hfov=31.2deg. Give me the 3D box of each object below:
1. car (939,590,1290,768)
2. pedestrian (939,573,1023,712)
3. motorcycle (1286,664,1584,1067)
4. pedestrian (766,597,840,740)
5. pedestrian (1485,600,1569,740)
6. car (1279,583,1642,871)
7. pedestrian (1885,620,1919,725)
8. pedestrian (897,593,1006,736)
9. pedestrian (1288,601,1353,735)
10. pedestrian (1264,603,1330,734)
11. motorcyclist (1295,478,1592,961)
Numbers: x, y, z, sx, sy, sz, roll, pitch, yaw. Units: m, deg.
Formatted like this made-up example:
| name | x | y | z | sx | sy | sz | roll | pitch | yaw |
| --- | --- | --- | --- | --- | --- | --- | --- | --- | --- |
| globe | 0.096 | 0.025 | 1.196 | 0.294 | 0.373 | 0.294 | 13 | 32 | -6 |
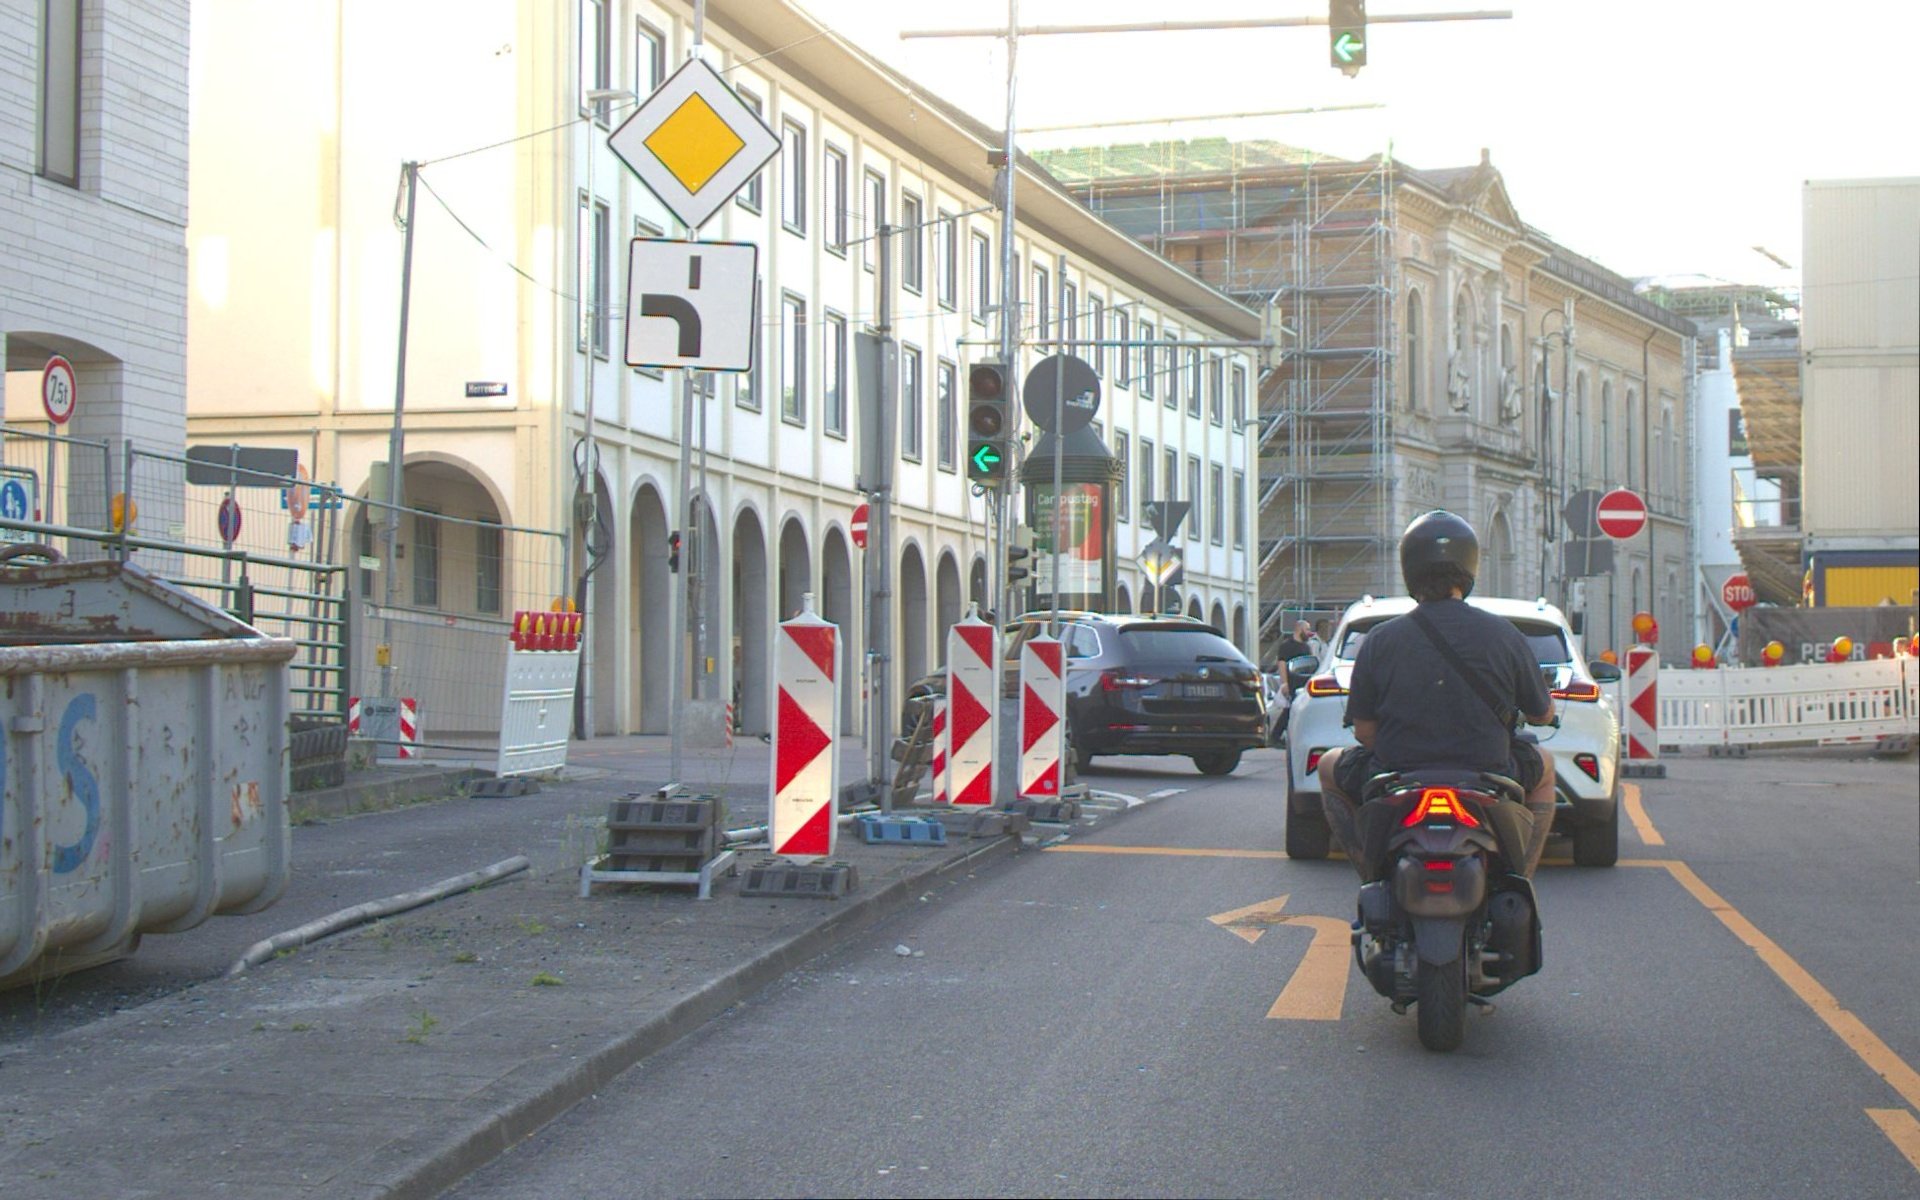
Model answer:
| name | x | y | z | sx | sy | sz | roll | pitch | yaw |
| --- | --- | --- | --- | --- | --- | --- | --- | --- | --- |
| car | 1.358 | 0.733 | 32.129 | 1.773 | 1.545 | 4.107 | 0 | -1 | -21 |
| pedestrian | 0.275 | 0.542 | 44.452 | 0.938 | 1.771 | 0.711 | -1 | 1 | 12 |
| motorcycle | 1.682 | 0.835 | 11.839 | 0.906 | 1.179 | 2.577 | 0 | 0 | 10 |
| pedestrian | -2.013 | 0.870 | 44.046 | 0.773 | 1.795 | 0.711 | -1 | 1 | 12 |
| pedestrian | 7.131 | 0.888 | 43.216 | 0.975 | 1.723 | 0.798 | -2 | -3 | 12 |
| car | 2.948 | 0.702 | 20.111 | 1.860 | 1.467 | 3.998 | 1 | -1 | 9 |
| pedestrian | 11.935 | 0.907 | 43.072 | 0.618 | 1.295 | 0.493 | 2 | -1 | 14 |
| pedestrian | -0.102 | 0.818 | 43.798 | 1.243 | 1.795 | 0.716 | -1 | 1 | 12 |
| pedestrian | 4.848 | 0.918 | 46.229 | 0.737 | 1.765 | 0.621 | -2 | -2 | 15 |
| pedestrian | 4.454 | 0.907 | 45.418 | 0.737 | 1.710 | 0.621 | -2 | -2 | 15 |
| motorcyclist | 1.671 | 0.386 | 11.758 | 0.954 | 1.554 | 1.238 | 0 | 0 | 10 |
